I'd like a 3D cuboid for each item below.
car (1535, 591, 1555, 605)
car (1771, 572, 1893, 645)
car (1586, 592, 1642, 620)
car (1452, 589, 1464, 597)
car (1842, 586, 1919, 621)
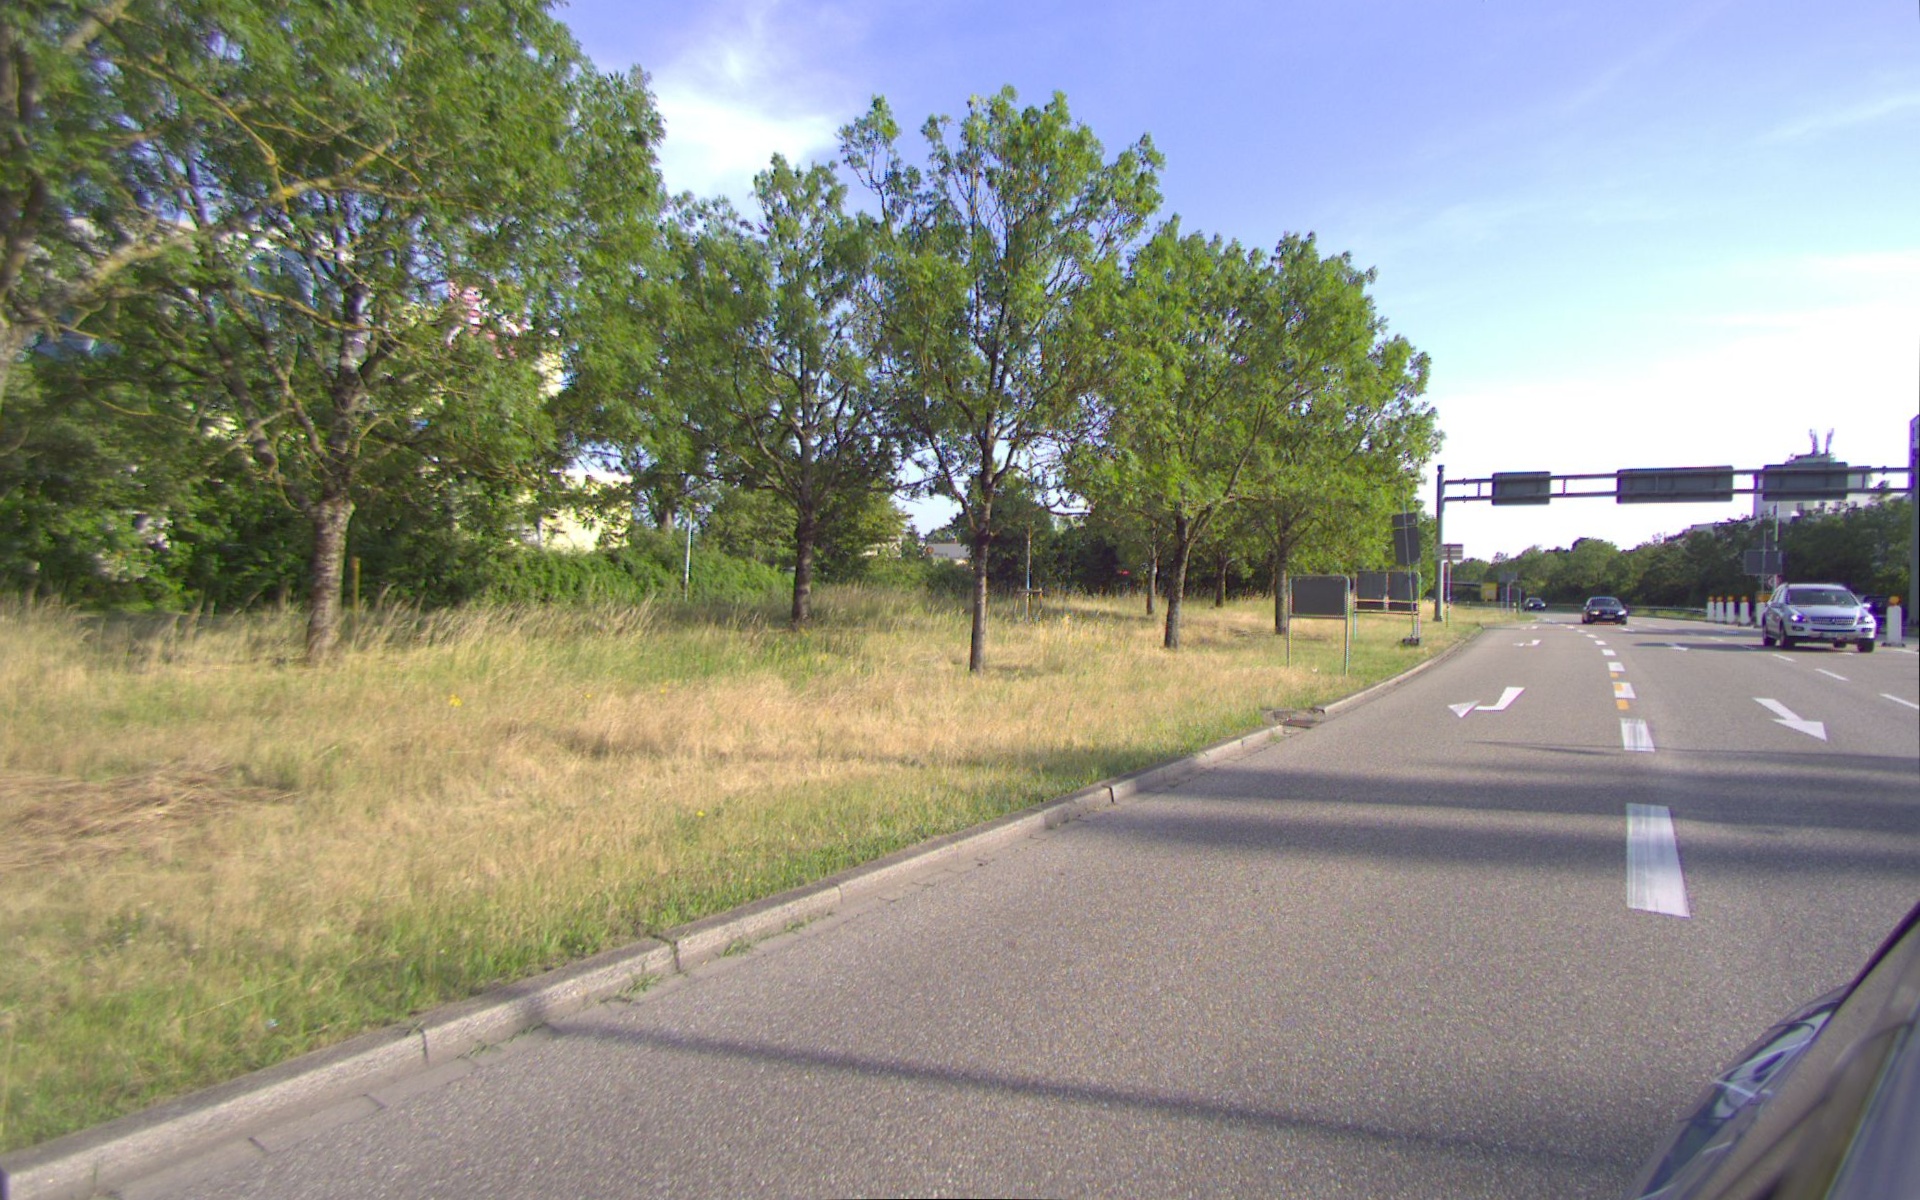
[{"bbox_3d":[67.129,-0.219,116.157,1.881,1.474,3.867,2,2,31],"label":"car"},{"bbox_3d":[23.908,0.205,27.915,1.888,1.847,4.306,0,0,32],"label":"car"},{"bbox_3d":[34.192,0.297,53.027,1.883,1.403,4.318,0,0,25],"label":"car"},{"bbox_3d":[109.724,-1.599,223.101,1.768,1.829,4.098,1,1,19],"label":"car"},{"bbox_3d":[57.728,0.173,63.616,1.979,2.038,5.313,2,1,24],"label":"car"}]
